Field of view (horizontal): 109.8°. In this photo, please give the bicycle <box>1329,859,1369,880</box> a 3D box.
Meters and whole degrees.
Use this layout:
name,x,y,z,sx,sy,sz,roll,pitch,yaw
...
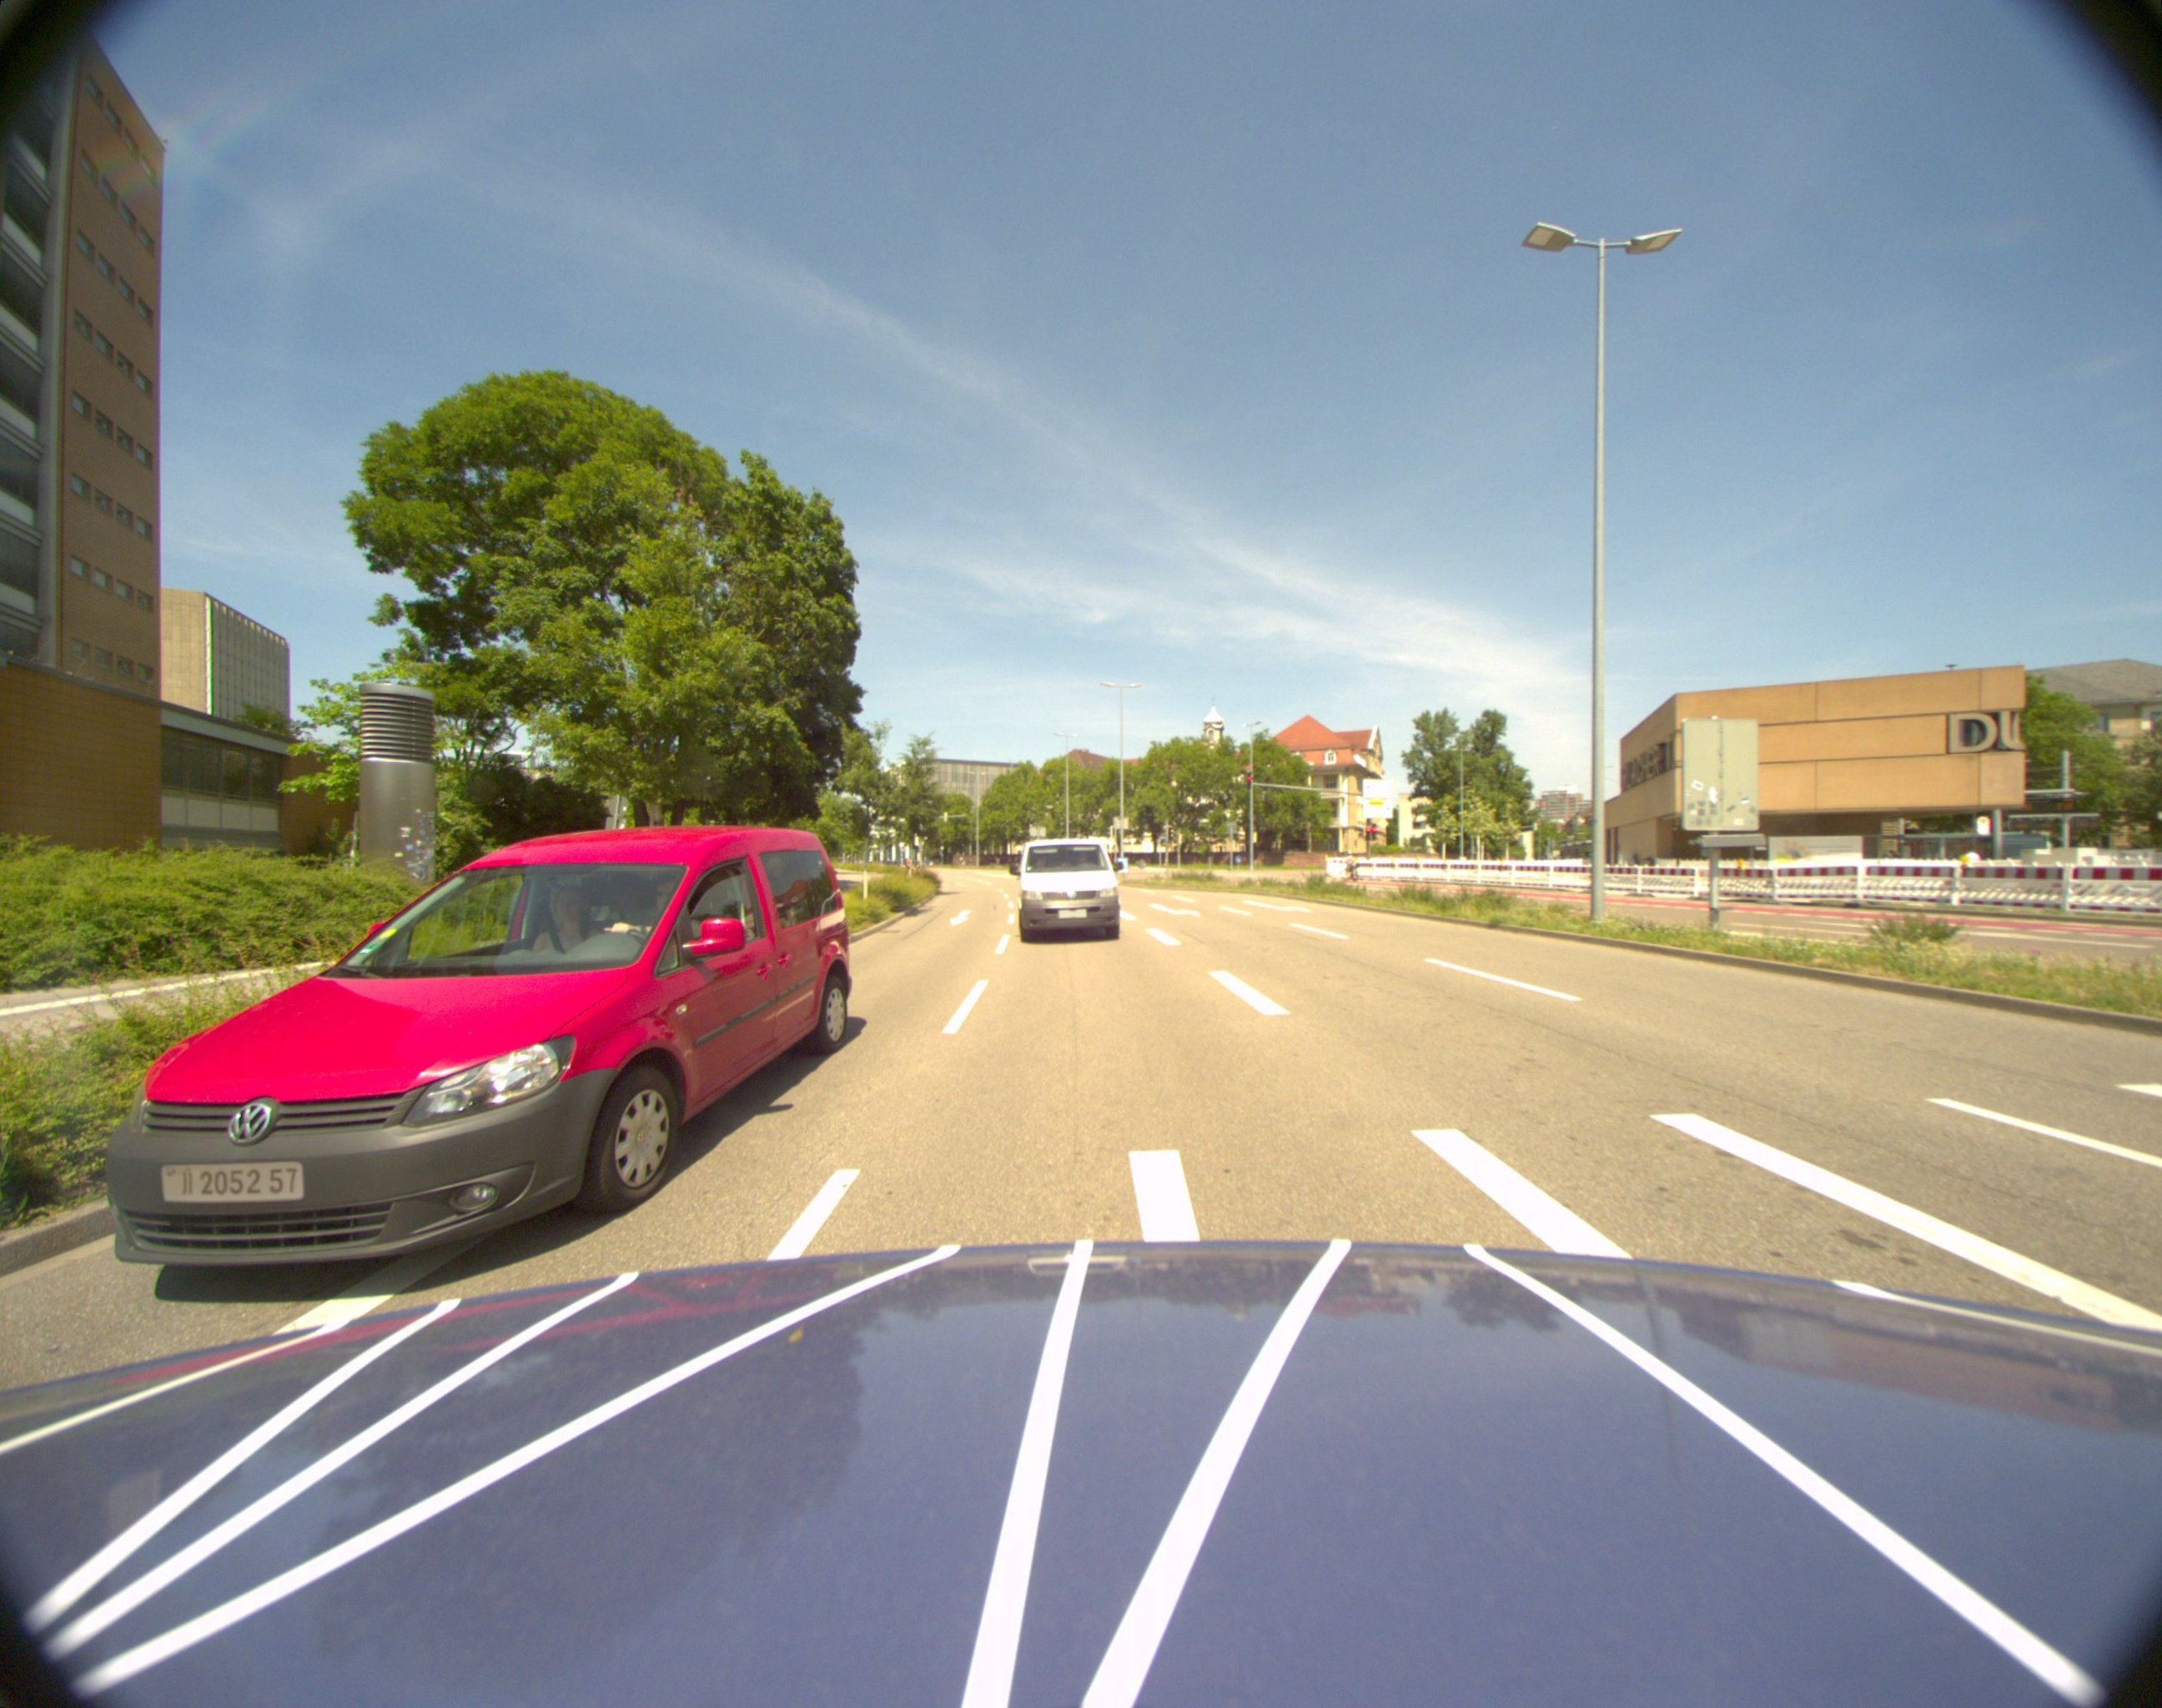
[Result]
name,x,y,z,sx,sy,sz,roll,pitch,yaw
bicycle,14.233,0.815,40.449,0.879,1.066,2.229,-2,1,-14

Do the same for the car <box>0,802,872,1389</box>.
name,x,y,z,sx,sy,sz,roll,pitch,yaw
car,-2.791,0.778,4.693,1.655,1.848,4.546,-1,0,1

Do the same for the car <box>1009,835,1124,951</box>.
name,x,y,z,sx,sy,sz,roll,pitch,yaw
car,-0.362,0.678,15.790,1.972,1.958,4.847,-2,0,-3

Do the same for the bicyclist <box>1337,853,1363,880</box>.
name,x,y,z,sx,sy,sz,roll,pitch,yaw
bicyclist,14.343,0.654,40.565,0.587,1.348,1.438,-3,1,-14
